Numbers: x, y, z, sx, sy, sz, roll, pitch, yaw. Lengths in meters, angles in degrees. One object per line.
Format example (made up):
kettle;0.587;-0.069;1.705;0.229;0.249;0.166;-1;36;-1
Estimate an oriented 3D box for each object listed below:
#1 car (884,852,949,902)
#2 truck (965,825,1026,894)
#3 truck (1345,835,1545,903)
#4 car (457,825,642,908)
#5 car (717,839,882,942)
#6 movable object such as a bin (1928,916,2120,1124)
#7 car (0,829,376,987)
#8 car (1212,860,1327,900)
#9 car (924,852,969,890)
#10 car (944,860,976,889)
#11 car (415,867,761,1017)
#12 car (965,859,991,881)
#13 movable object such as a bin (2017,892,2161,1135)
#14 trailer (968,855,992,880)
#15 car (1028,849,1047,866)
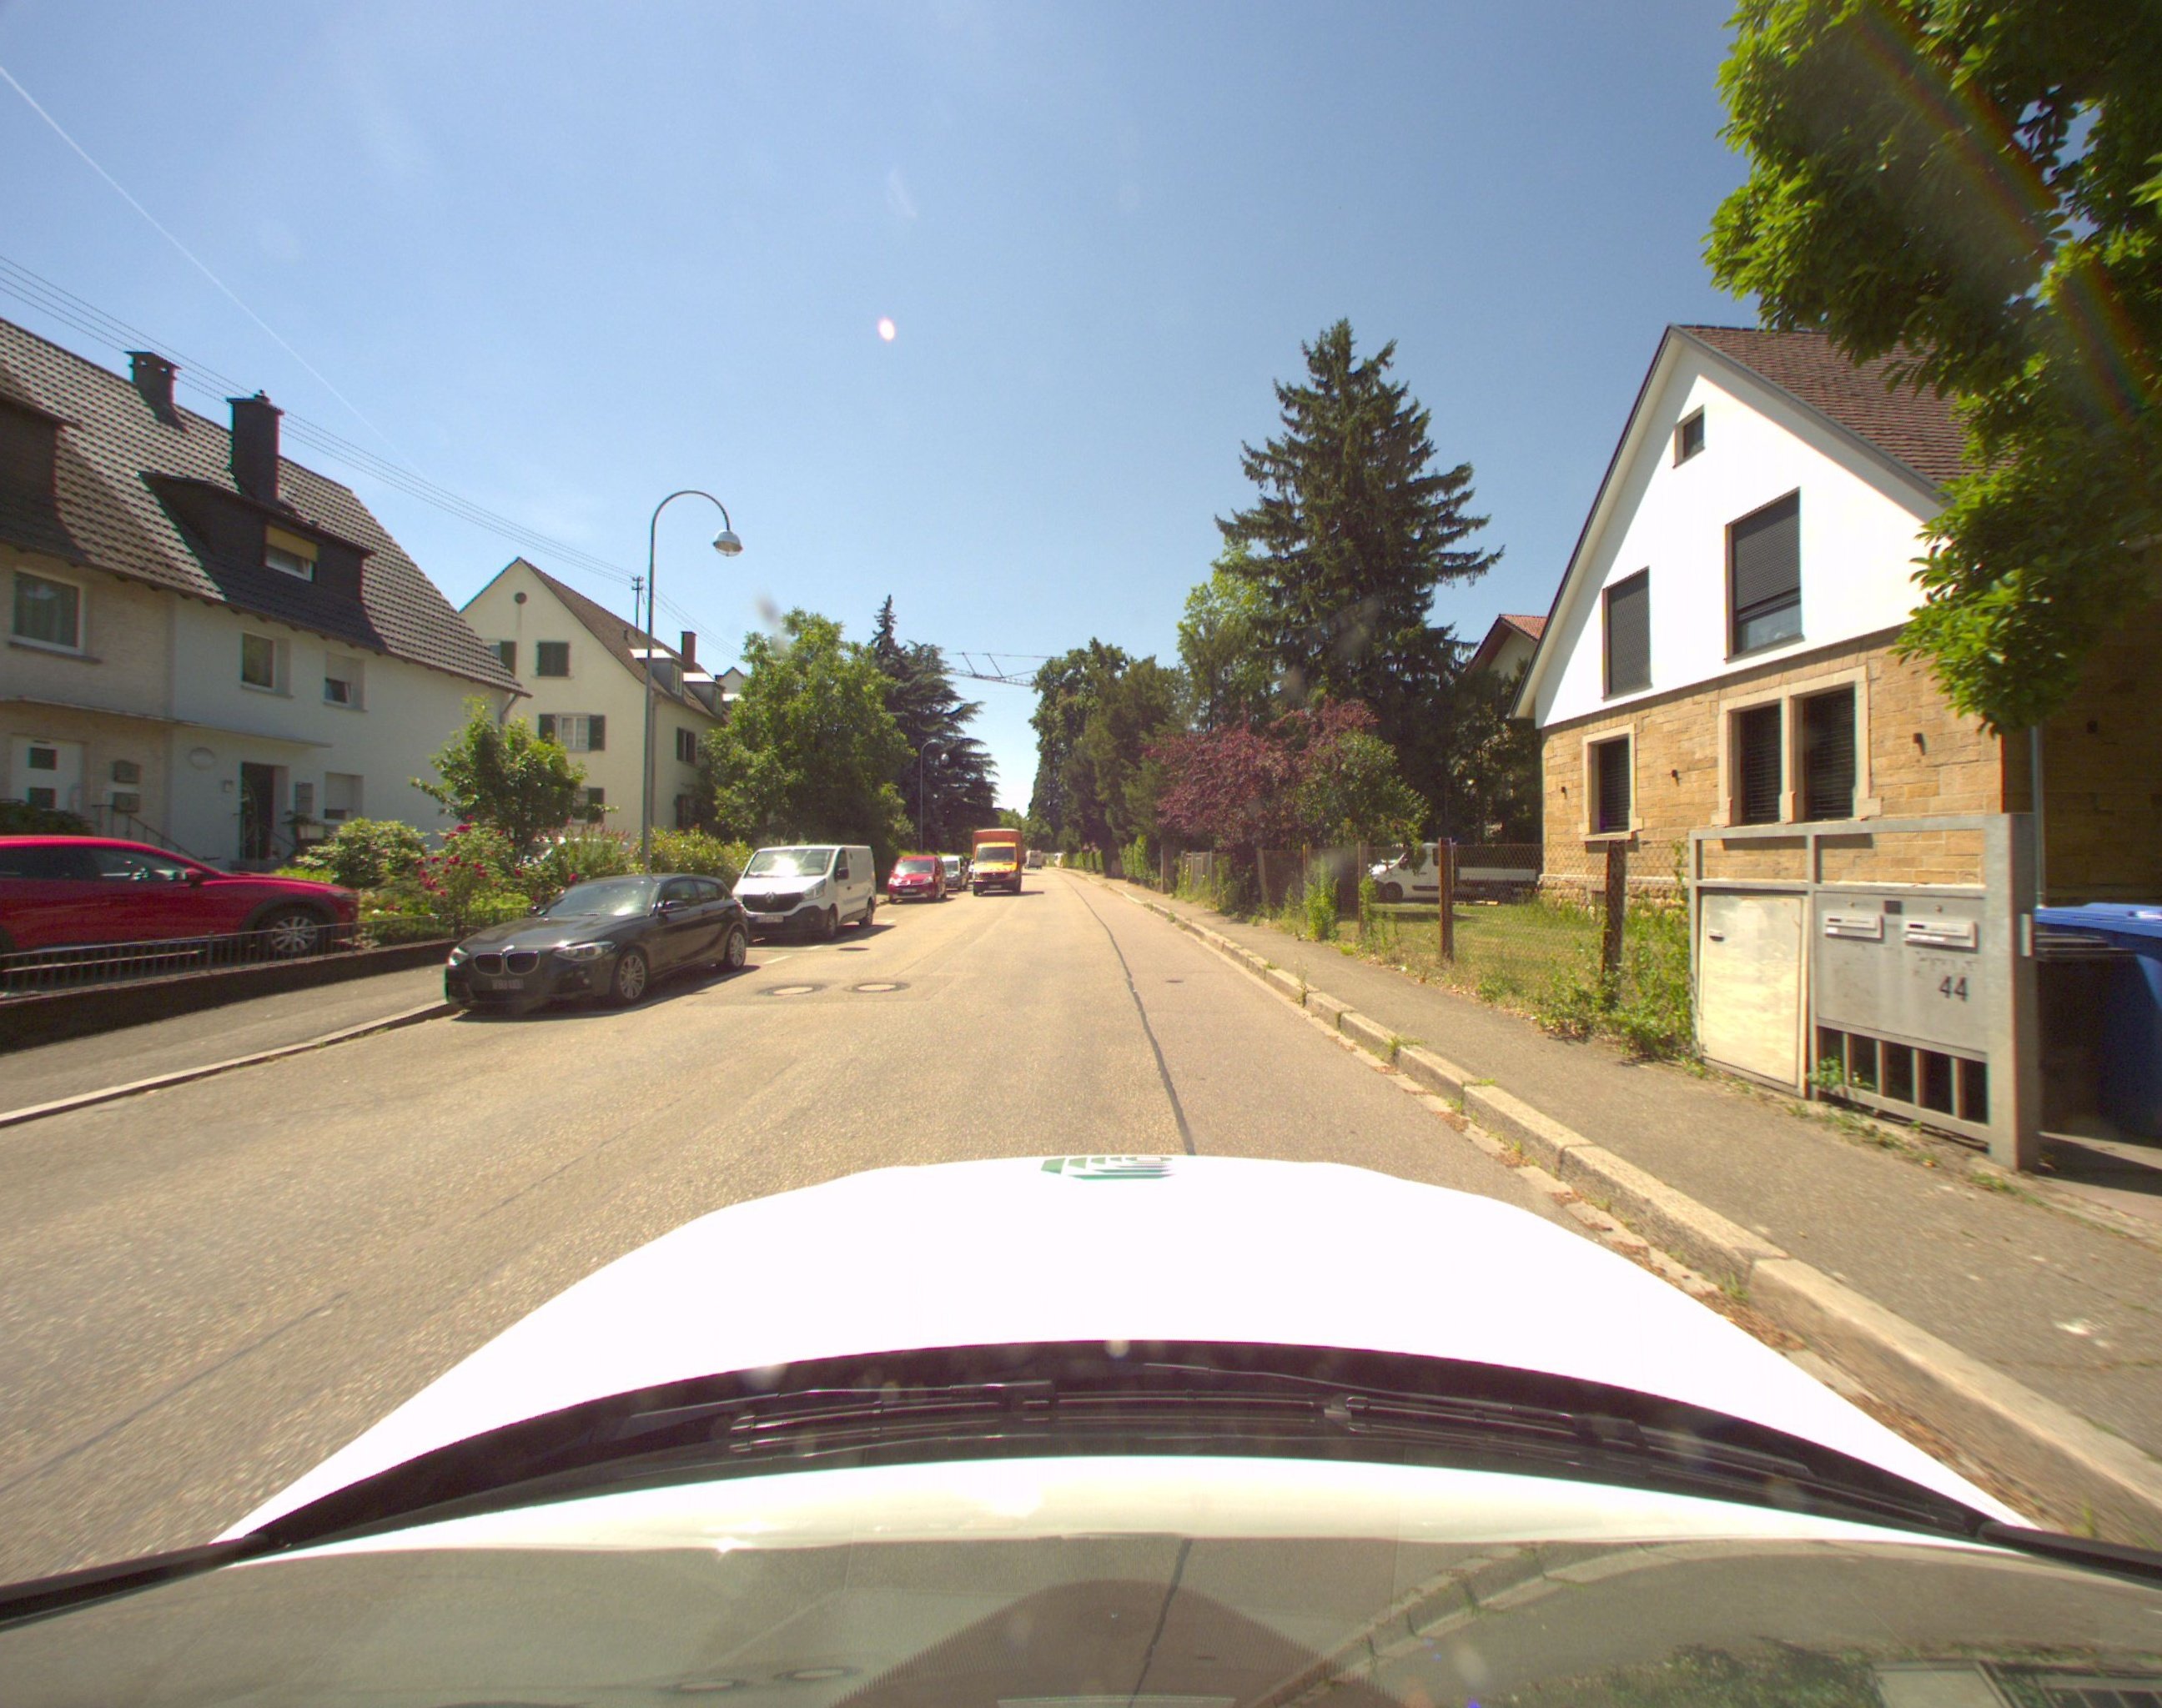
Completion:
car;-6.174;0.825;31.027;1.754;1.727;4.453;-1;0;-3
truck;-3.756;0.240;36.686;2.367;2.830;5.652;0;-1;-3
truck;13.398;0.539;30.125;6.600;2.167;1.976;2;0;-6
car;-13.487;0.323;21.005;1.705;1.870;4.008;2;-1;7
car;-5.796;0.711;17.488;1.881;1.881;4.977;0;-1;-1
movable object such as a bin;4.613;0.788;4.008;0.398;0.923;0.464;-1;0;1
car;-11.078;0.507;9.387;1.628;1.511;4.137;4;3;26
car;6.846;0.928;29.842;3.849;1.380;1.766;1;-1;0
car;-6.753;0.833;41.215;1.643;1.752;4.351;-1;0;-2
car;-6.787;1.122;46.021;1.408;1.503;2.838;-2;0;-2
car;-5.704;0.903;10.162;1.693;1.384;4.235;-2;0;0
car;-8.181;1.279;65.186;1.848;1.671;4.703;-2;-1;-5
movable object such as a bin;5.051;0.730;3.941;0.398;1.064;0.546;-1;0;2
trailer;-8.584;1.160;69.609;1.845;2.040;4.155;-2;-1;-5
car;-6.170;0.478;115.025;2.144;2.315;4.836;-1;0;-10
